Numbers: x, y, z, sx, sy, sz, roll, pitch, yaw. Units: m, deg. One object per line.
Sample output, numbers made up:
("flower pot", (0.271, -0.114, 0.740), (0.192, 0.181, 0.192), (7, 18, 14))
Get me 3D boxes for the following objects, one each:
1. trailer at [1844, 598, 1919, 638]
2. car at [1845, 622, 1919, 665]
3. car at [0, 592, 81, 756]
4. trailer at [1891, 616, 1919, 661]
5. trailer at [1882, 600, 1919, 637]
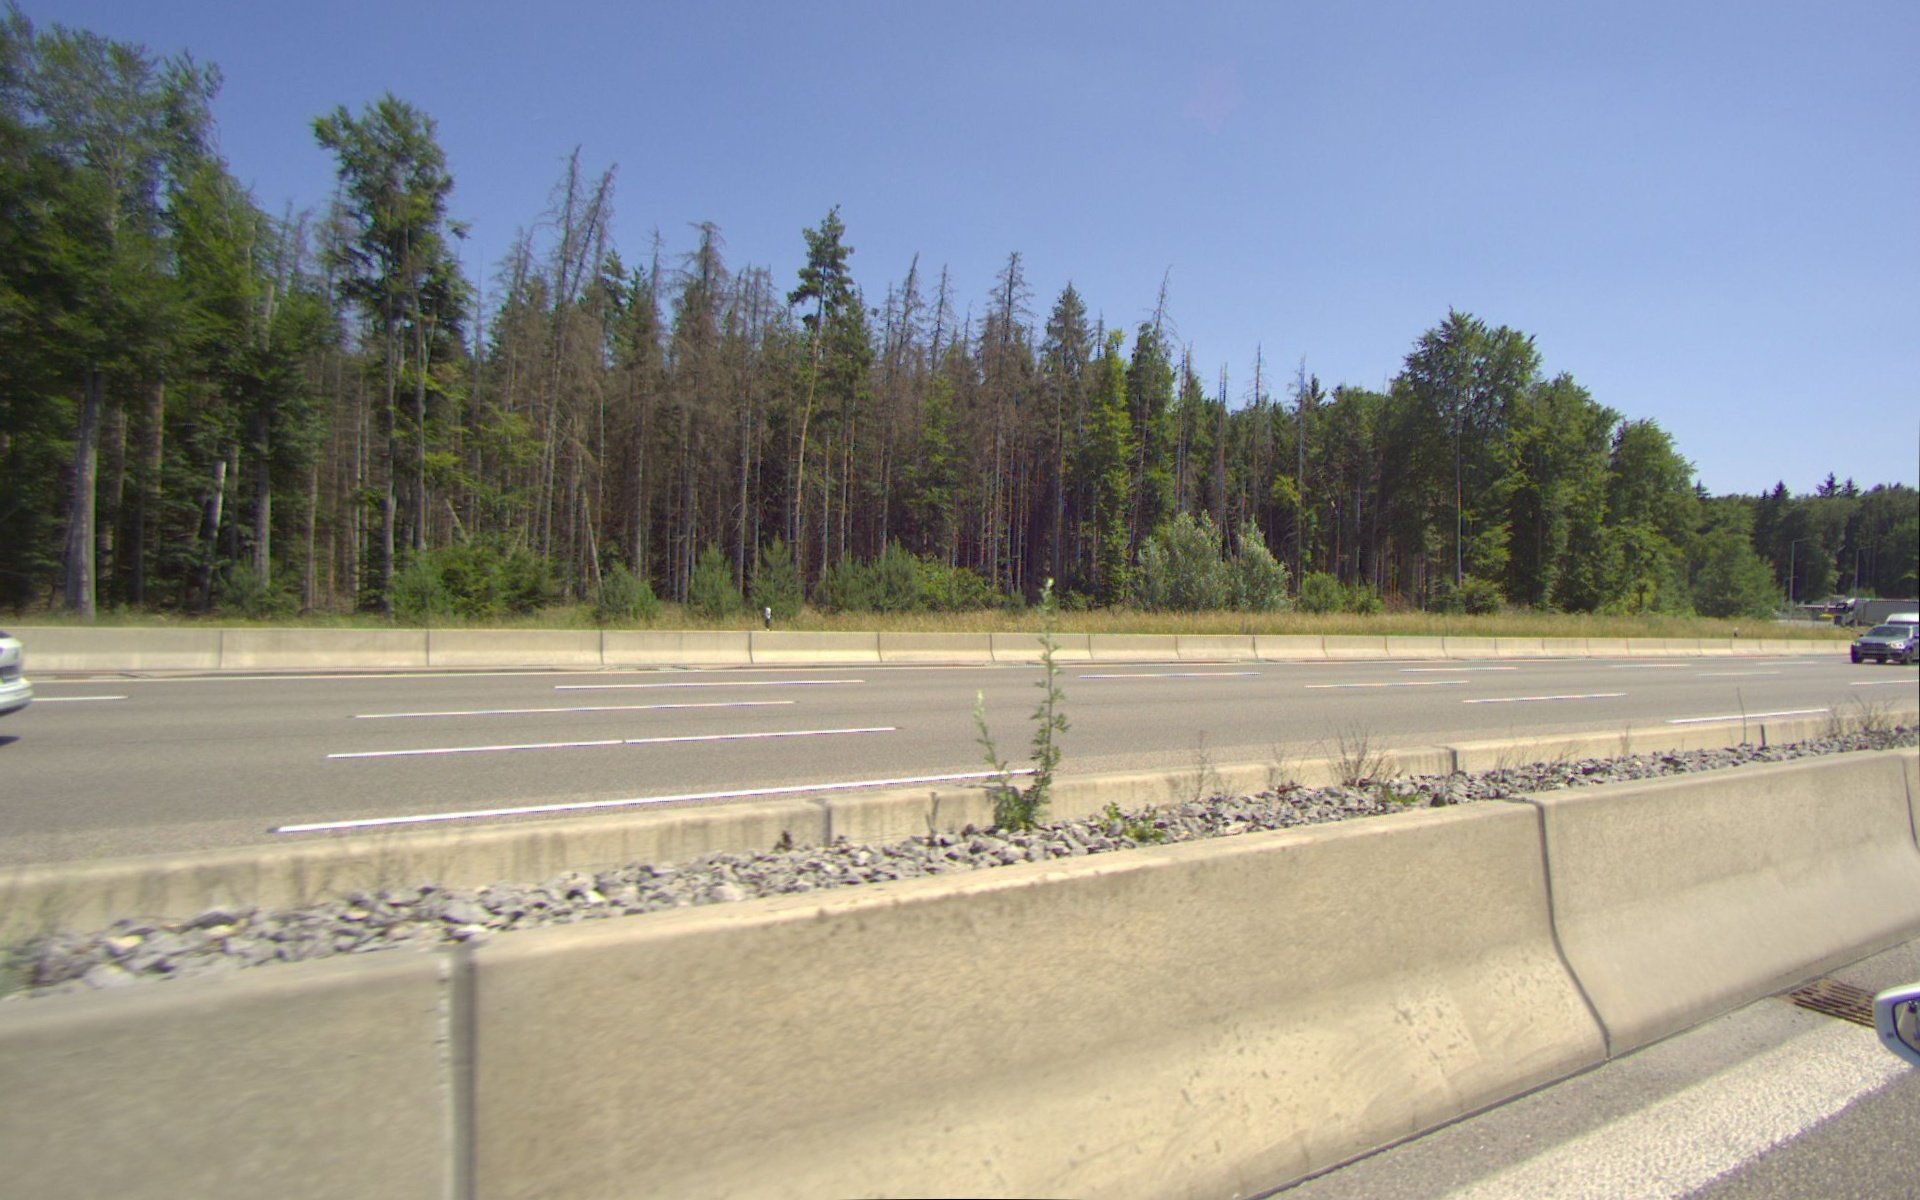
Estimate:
("trailer", (130.173, 2.532, 137.175), (14.271, 5.140, 3.131), (2, 1, 13))
("car", (42.138, 1.953, 45.269), (5.519, 1.782, 1.804), (2, -1, -31))
("car", (-10.951, 0.616, 8.706), (4.729, 1.483, 1.721), (2, -1, -31))
("trailer", (47.119, 1.854, 48.324), (6.082, 2.078, 1.845), (2, -1, -31))
("trailer", (140.144, 2.858, 142.157), (14.271, 5.140, 3.225), (2, 1, 13))
